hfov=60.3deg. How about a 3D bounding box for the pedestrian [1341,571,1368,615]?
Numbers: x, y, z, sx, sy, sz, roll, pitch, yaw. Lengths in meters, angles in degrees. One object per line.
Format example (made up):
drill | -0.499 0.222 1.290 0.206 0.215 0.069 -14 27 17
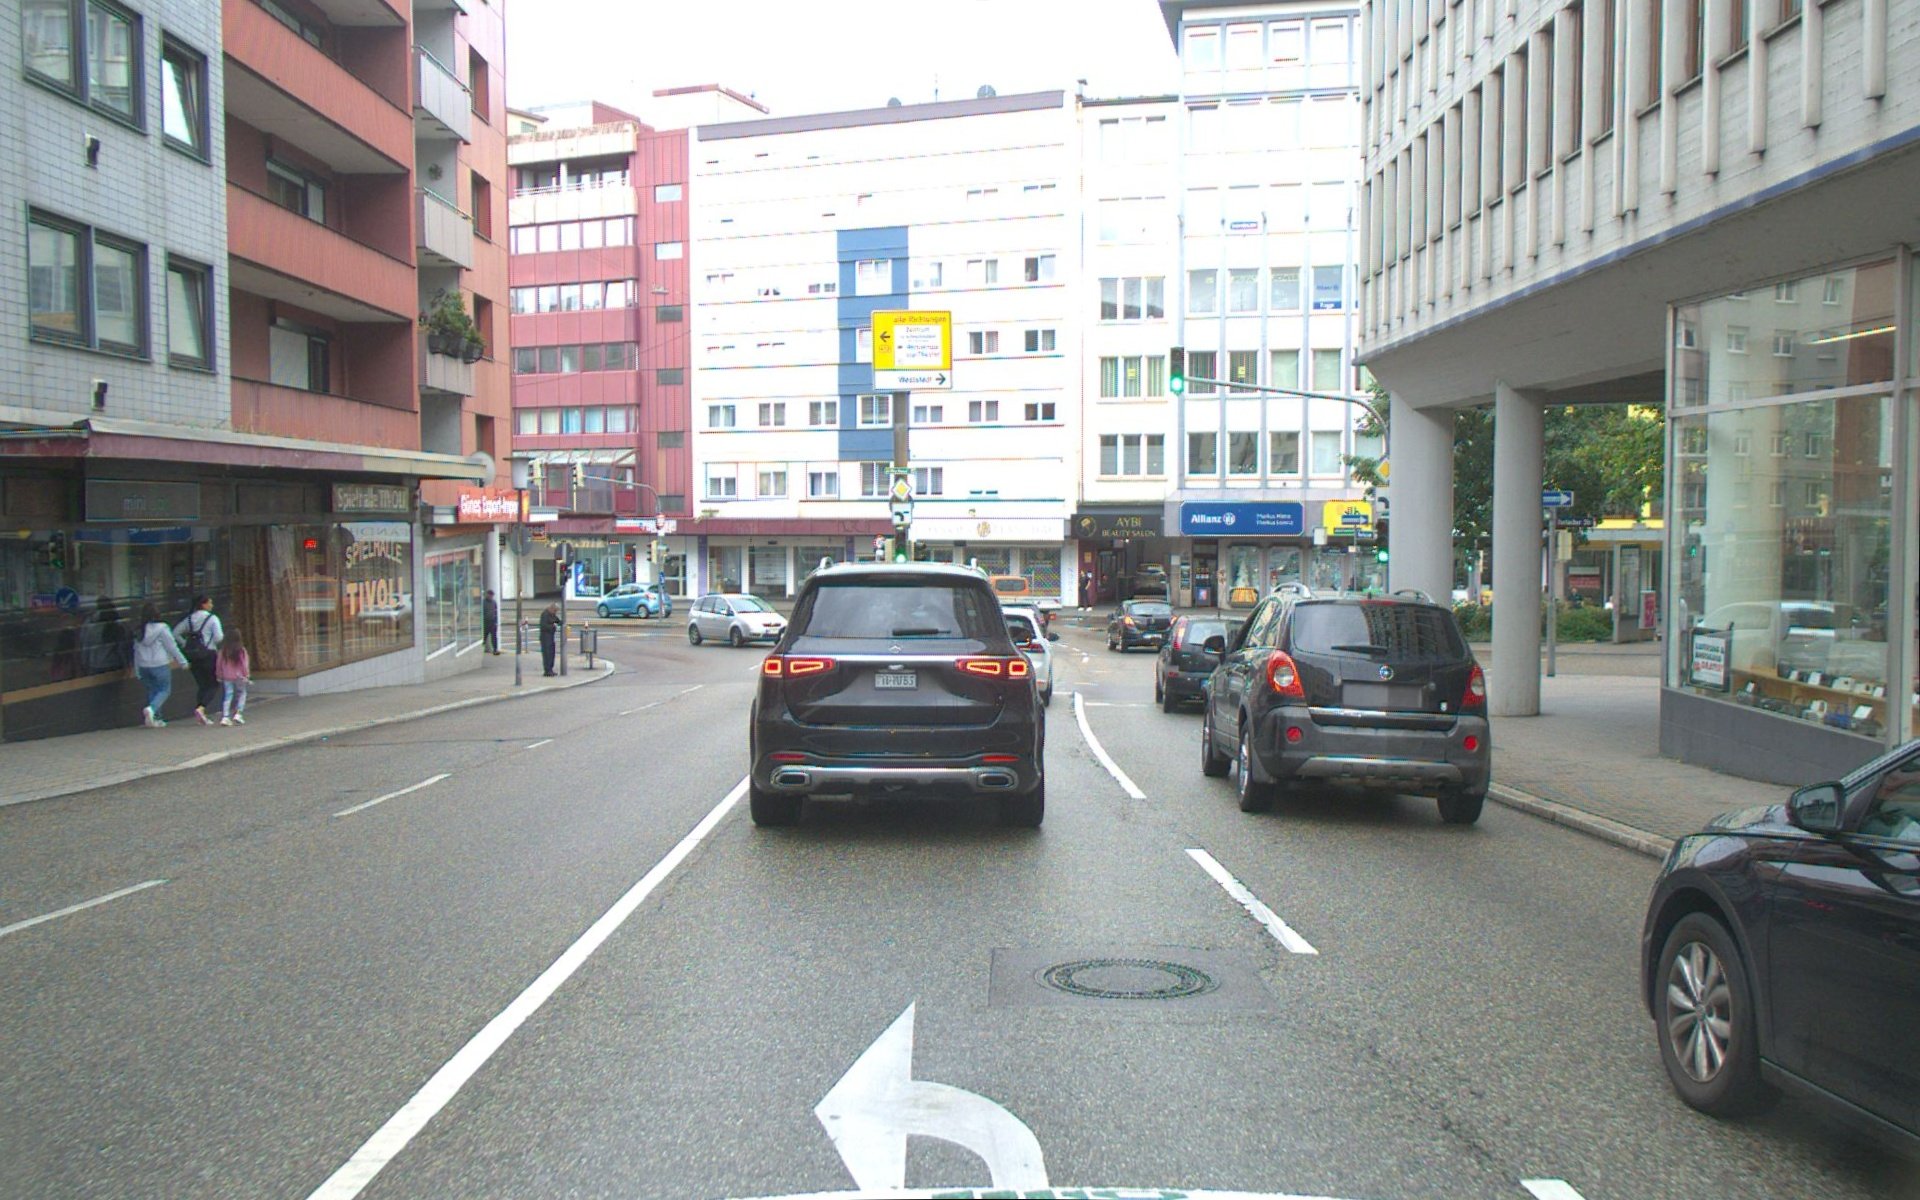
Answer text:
pedestrian | 16.378 -0.290 68.613 1.008 1.717 0.831 0 6 8

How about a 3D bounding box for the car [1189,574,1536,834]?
car | 3.143 0.730 13.880 1.858 1.724 4.506 3 0 2

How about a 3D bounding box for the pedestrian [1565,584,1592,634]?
pedestrian | 23.533 0.349 62.945 0.807 1.859 0.890 3 1 27

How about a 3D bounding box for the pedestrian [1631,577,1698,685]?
pedestrian | 12.469 0.548 29.295 0.707 1.850 0.829 -2 -1 -7

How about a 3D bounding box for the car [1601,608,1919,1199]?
car | 3.193 0.828 3.891 1.654 1.503 3.998 3 0 -2

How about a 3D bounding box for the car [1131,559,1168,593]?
car | 9.641 -1.203 83.913 1.759 1.699 4.003 -1 0 8

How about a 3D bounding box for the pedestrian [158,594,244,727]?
pedestrian | -10.044 0.791 21.917 0.812 1.719 0.722 2 0 -9

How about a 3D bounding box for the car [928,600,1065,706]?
car | 0.677 0.783 26.588 1.834 1.521 4.403 1 0 6

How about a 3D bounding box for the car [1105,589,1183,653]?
car | 5.211 0.610 47.317 1.785 1.687 4.496 1 -1 1

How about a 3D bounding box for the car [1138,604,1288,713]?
car | 3.823 0.842 25.586 1.730 1.421 4.001 3 0 1

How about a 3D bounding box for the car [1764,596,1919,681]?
car | 17.555 0.685 30.328 4.764 1.521 1.846 0 0 41

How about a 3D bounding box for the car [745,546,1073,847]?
car | -0.382 0.596 12.568 1.997 1.830 4.661 1 0 -2

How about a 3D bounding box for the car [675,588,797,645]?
car | -7.145 0.534 52.547 1.728 1.620 4.108 -2 -1 -44

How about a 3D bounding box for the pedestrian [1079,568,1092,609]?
pedestrian | 5.491 -0.514 72.344 0.552 1.717 0.757 0 6 6

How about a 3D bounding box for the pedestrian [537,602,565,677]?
pedestrian | -9.538 0.916 38.570 0.543 1.727 0.623 0 0 -4

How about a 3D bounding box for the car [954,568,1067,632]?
car | 1.854 -0.001 62.668 2.212 2.267 5.389 1 0 -23

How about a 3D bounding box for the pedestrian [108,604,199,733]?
pedestrian | -10.295 0.867 21.138 0.812 1.588 0.722 2 0 -9

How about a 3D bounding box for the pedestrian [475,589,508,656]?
pedestrian | -13.234 0.628 46.721 0.751 1.881 0.836 0 0 -27

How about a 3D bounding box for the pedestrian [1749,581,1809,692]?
pedestrian | 13.071 0.580 26.423 0.706 1.719 0.830 -3 -1 21

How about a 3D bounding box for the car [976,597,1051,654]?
car | 1.469 0.689 46.964 1.953 1.512 4.236 -1 0 0

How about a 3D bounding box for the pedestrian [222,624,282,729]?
pedestrian | -9.392 1.007 21.949 0.523 1.346 0.722 2 0 -9

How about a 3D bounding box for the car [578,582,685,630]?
car | -14.280 0.265 71.941 4.078 1.870 1.999 3 0 23
